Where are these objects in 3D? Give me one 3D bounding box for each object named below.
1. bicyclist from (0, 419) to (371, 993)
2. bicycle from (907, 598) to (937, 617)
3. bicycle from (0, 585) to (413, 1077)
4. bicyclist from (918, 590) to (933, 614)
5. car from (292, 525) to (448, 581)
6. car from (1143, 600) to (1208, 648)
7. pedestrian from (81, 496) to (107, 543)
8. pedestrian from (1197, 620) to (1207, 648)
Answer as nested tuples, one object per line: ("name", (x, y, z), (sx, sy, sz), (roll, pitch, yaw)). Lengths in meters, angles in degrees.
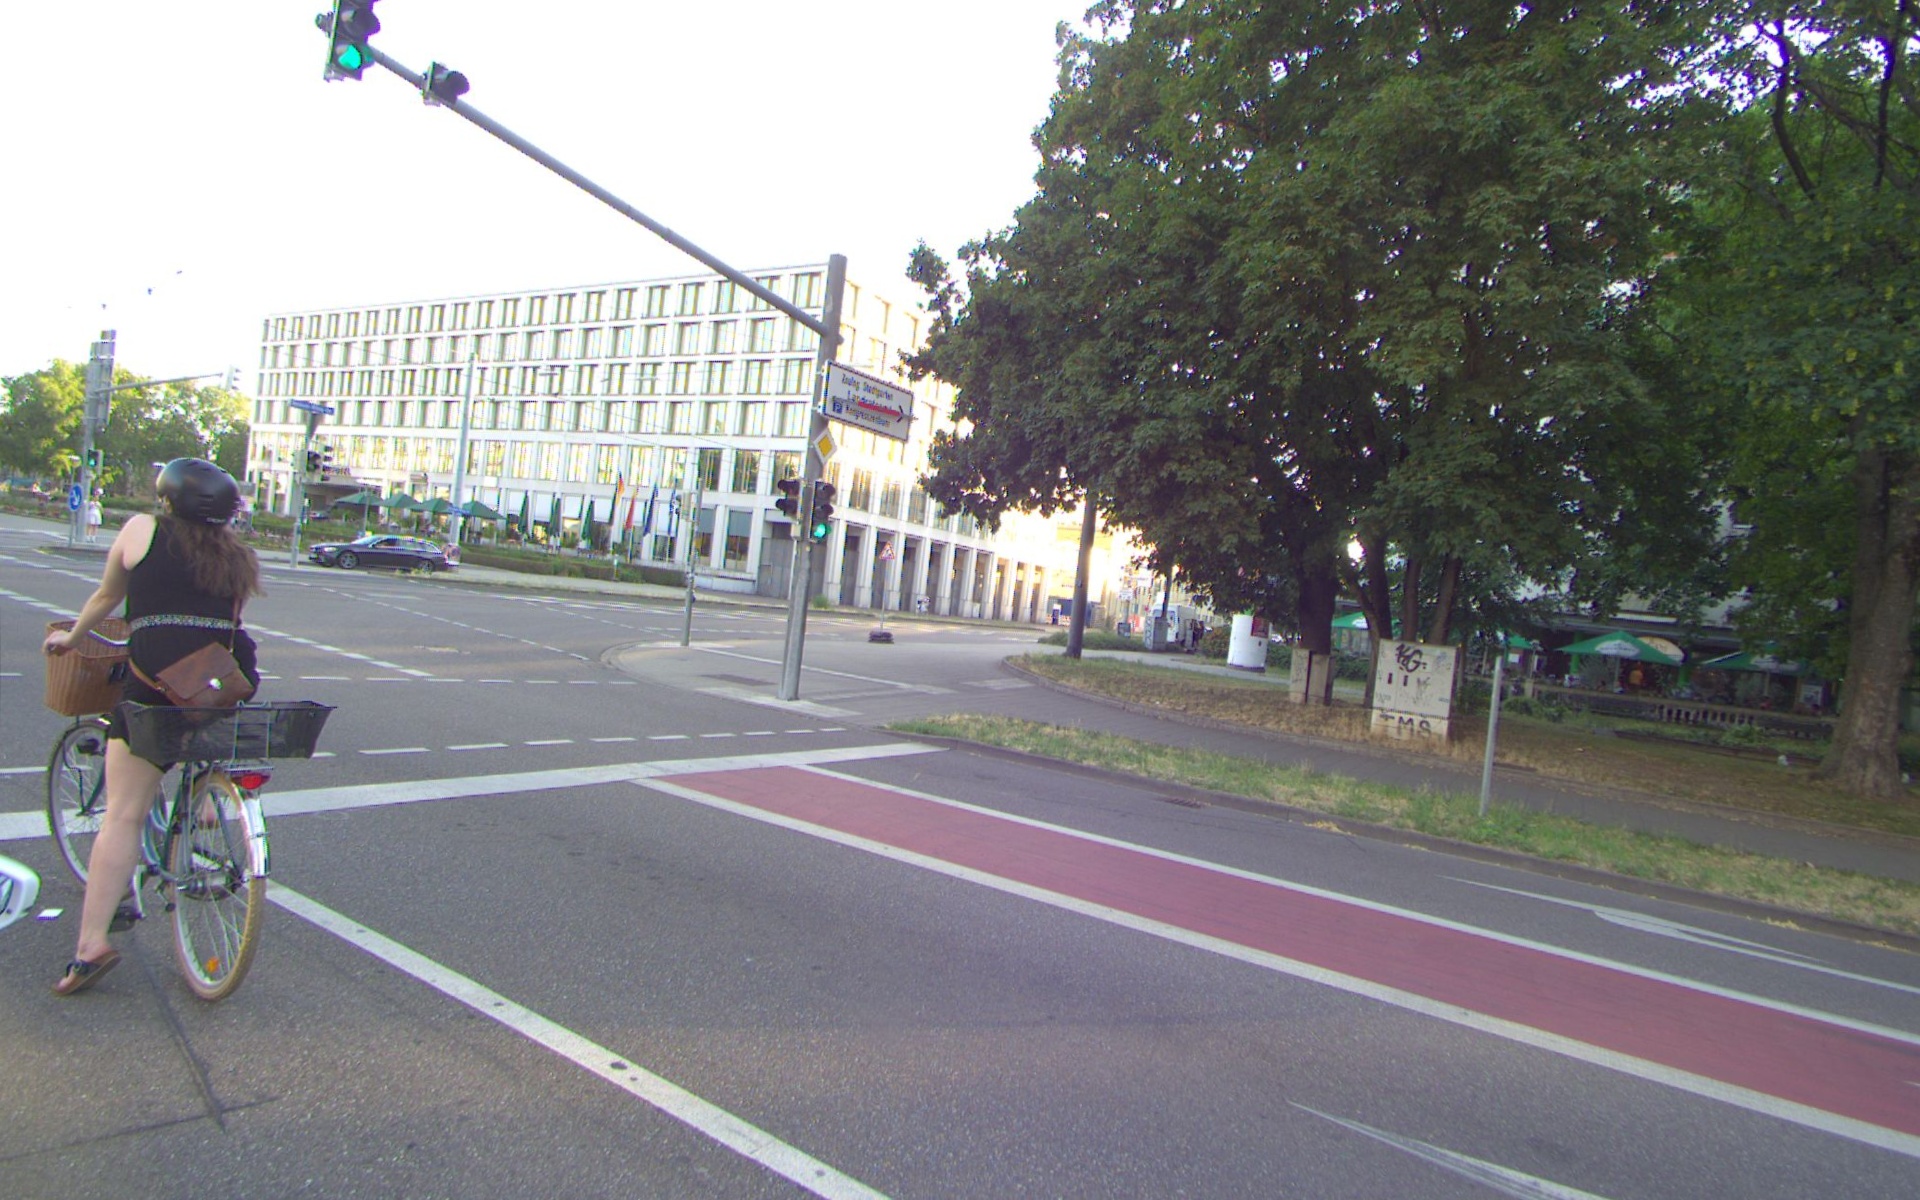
("bicyclist", (-2.664, 0.284, 3.403), (0.982, 1.655, 0.600), (7, 0, 32))
("bicycle", (-2.635, 0.546, 70.082), (0.592, 1.120, 2.775), (7, 0, 29))
("bicycle", (-2.795, 0.627, 3.452), (1.971, 1.146, 0.612), (7, -1, 32))
("bicyclist", (-2.418, 0.156, 70.409), (0.567, 1.556, 0.708), (7, 1, 29))
("car", (-23.017, -1.803, 39.448), (1.968, 1.534, 4.826), (7, 0, 34))
("car", (11.981, 1.357, 55.643), (1.967, 2.318, 4.605), (6, 0, 31))
("pedestrian", (-30.222, -2.809, 35.109), (0.402, 1.559, 0.491), (7, 2, 31))
("pedestrian", (13.428, 1.884, 55.826), (0.302, 1.525, 0.336), (7, -1, 31))
